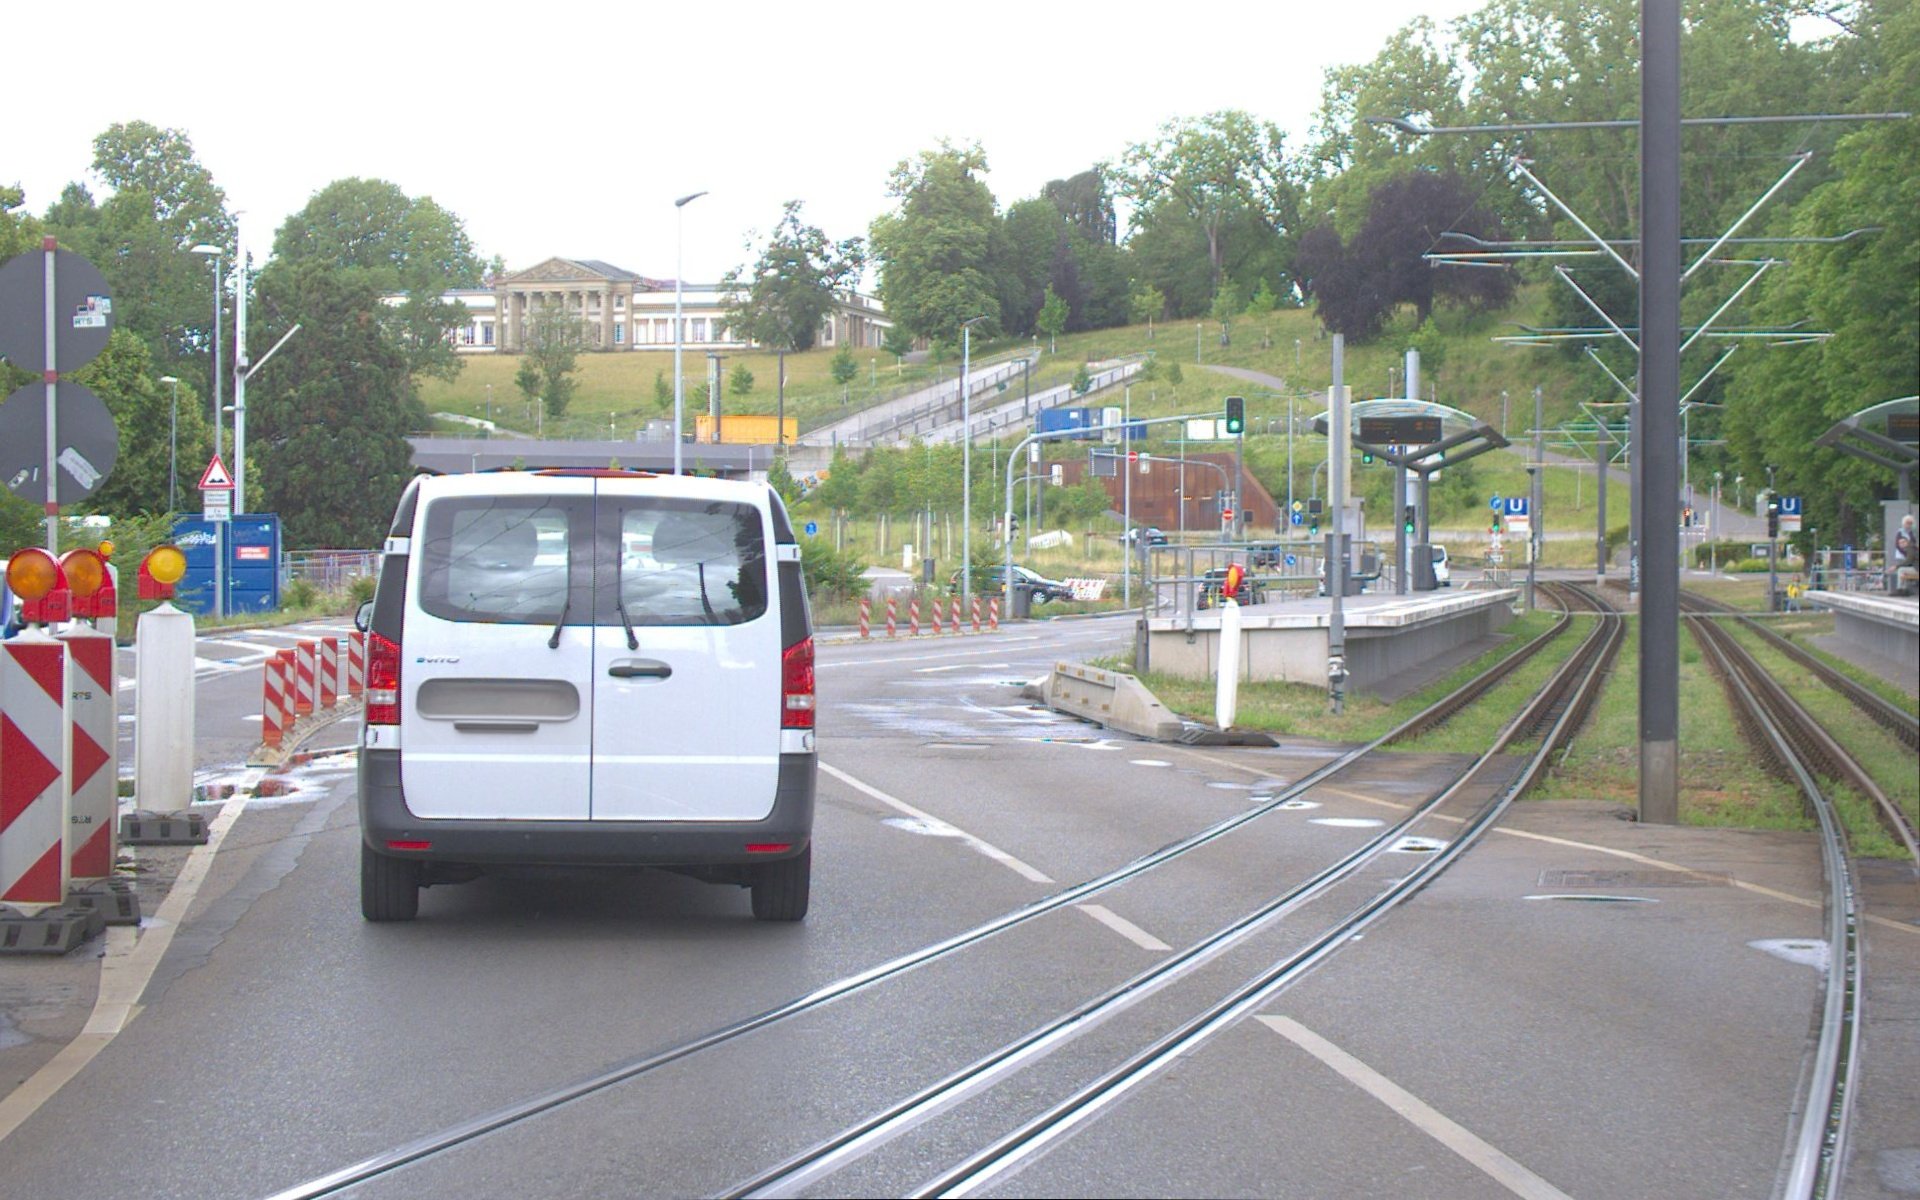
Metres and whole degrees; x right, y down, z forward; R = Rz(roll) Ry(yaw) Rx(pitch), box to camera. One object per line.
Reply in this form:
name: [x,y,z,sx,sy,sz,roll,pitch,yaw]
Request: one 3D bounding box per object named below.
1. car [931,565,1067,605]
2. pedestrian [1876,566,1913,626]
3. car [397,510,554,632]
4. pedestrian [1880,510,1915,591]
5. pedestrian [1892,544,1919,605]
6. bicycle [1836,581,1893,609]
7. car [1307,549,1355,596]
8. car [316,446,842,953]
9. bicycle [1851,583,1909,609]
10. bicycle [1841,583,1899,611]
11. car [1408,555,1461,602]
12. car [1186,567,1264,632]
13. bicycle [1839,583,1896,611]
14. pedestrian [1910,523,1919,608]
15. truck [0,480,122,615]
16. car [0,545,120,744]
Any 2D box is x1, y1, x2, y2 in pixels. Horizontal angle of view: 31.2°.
car: [1.461,-0.565,129.580,4.714,1.472,1.998,0,1,22]
pedestrian: [21.138,-0.085,77.790,0.674,1.319,0.967,3,0,10]
car: [-7.361,-0.481,52.644,1.863,1.776,4.749,0,1,-2]
pedestrian: [19.688,-1.036,72.210,0.544,1.671,0.675,3,0,8]
pedestrian: [18.962,-0.507,68.570,0.658,1.187,0.675,3,0,13]
bicycle: [32.206,-0.165,122.395,1.913,0.972,0.530,0,0,12]
car: [14.791,-1.099,136.878,1.753,1.766,3.999,3,0,7]
car: [-1.614,0.361,15.491,1.959,1.897,4.462,2,1,-4]
bicycle: [31.828,-0.144,118.960,1.913,0.892,0.530,0,0,12]
bicycle: [31.796,-0.115,120.104,1.913,0.972,0.530,0,0,12]
car: [21.420,-0.966,155.338,2.201,2.007,5.150,1,0,7]
car: [7.654,-0.026,99.048,1.994,1.766,3.999,3,0,7]
bicycle: [31.875,-0.118,120.749,1.913,0.972,0.530,0,0,12]
pedestrian: [19.317,-0.672,67.875,0.860,1.671,0.761,3,0,2]
truck: [-23.713,-1.396,90.401,2.791,3.324,8.481,-1,1,-16]
car: [-7.955,0.329,26.620,1.695,1.456,3.912,0,2,4]
